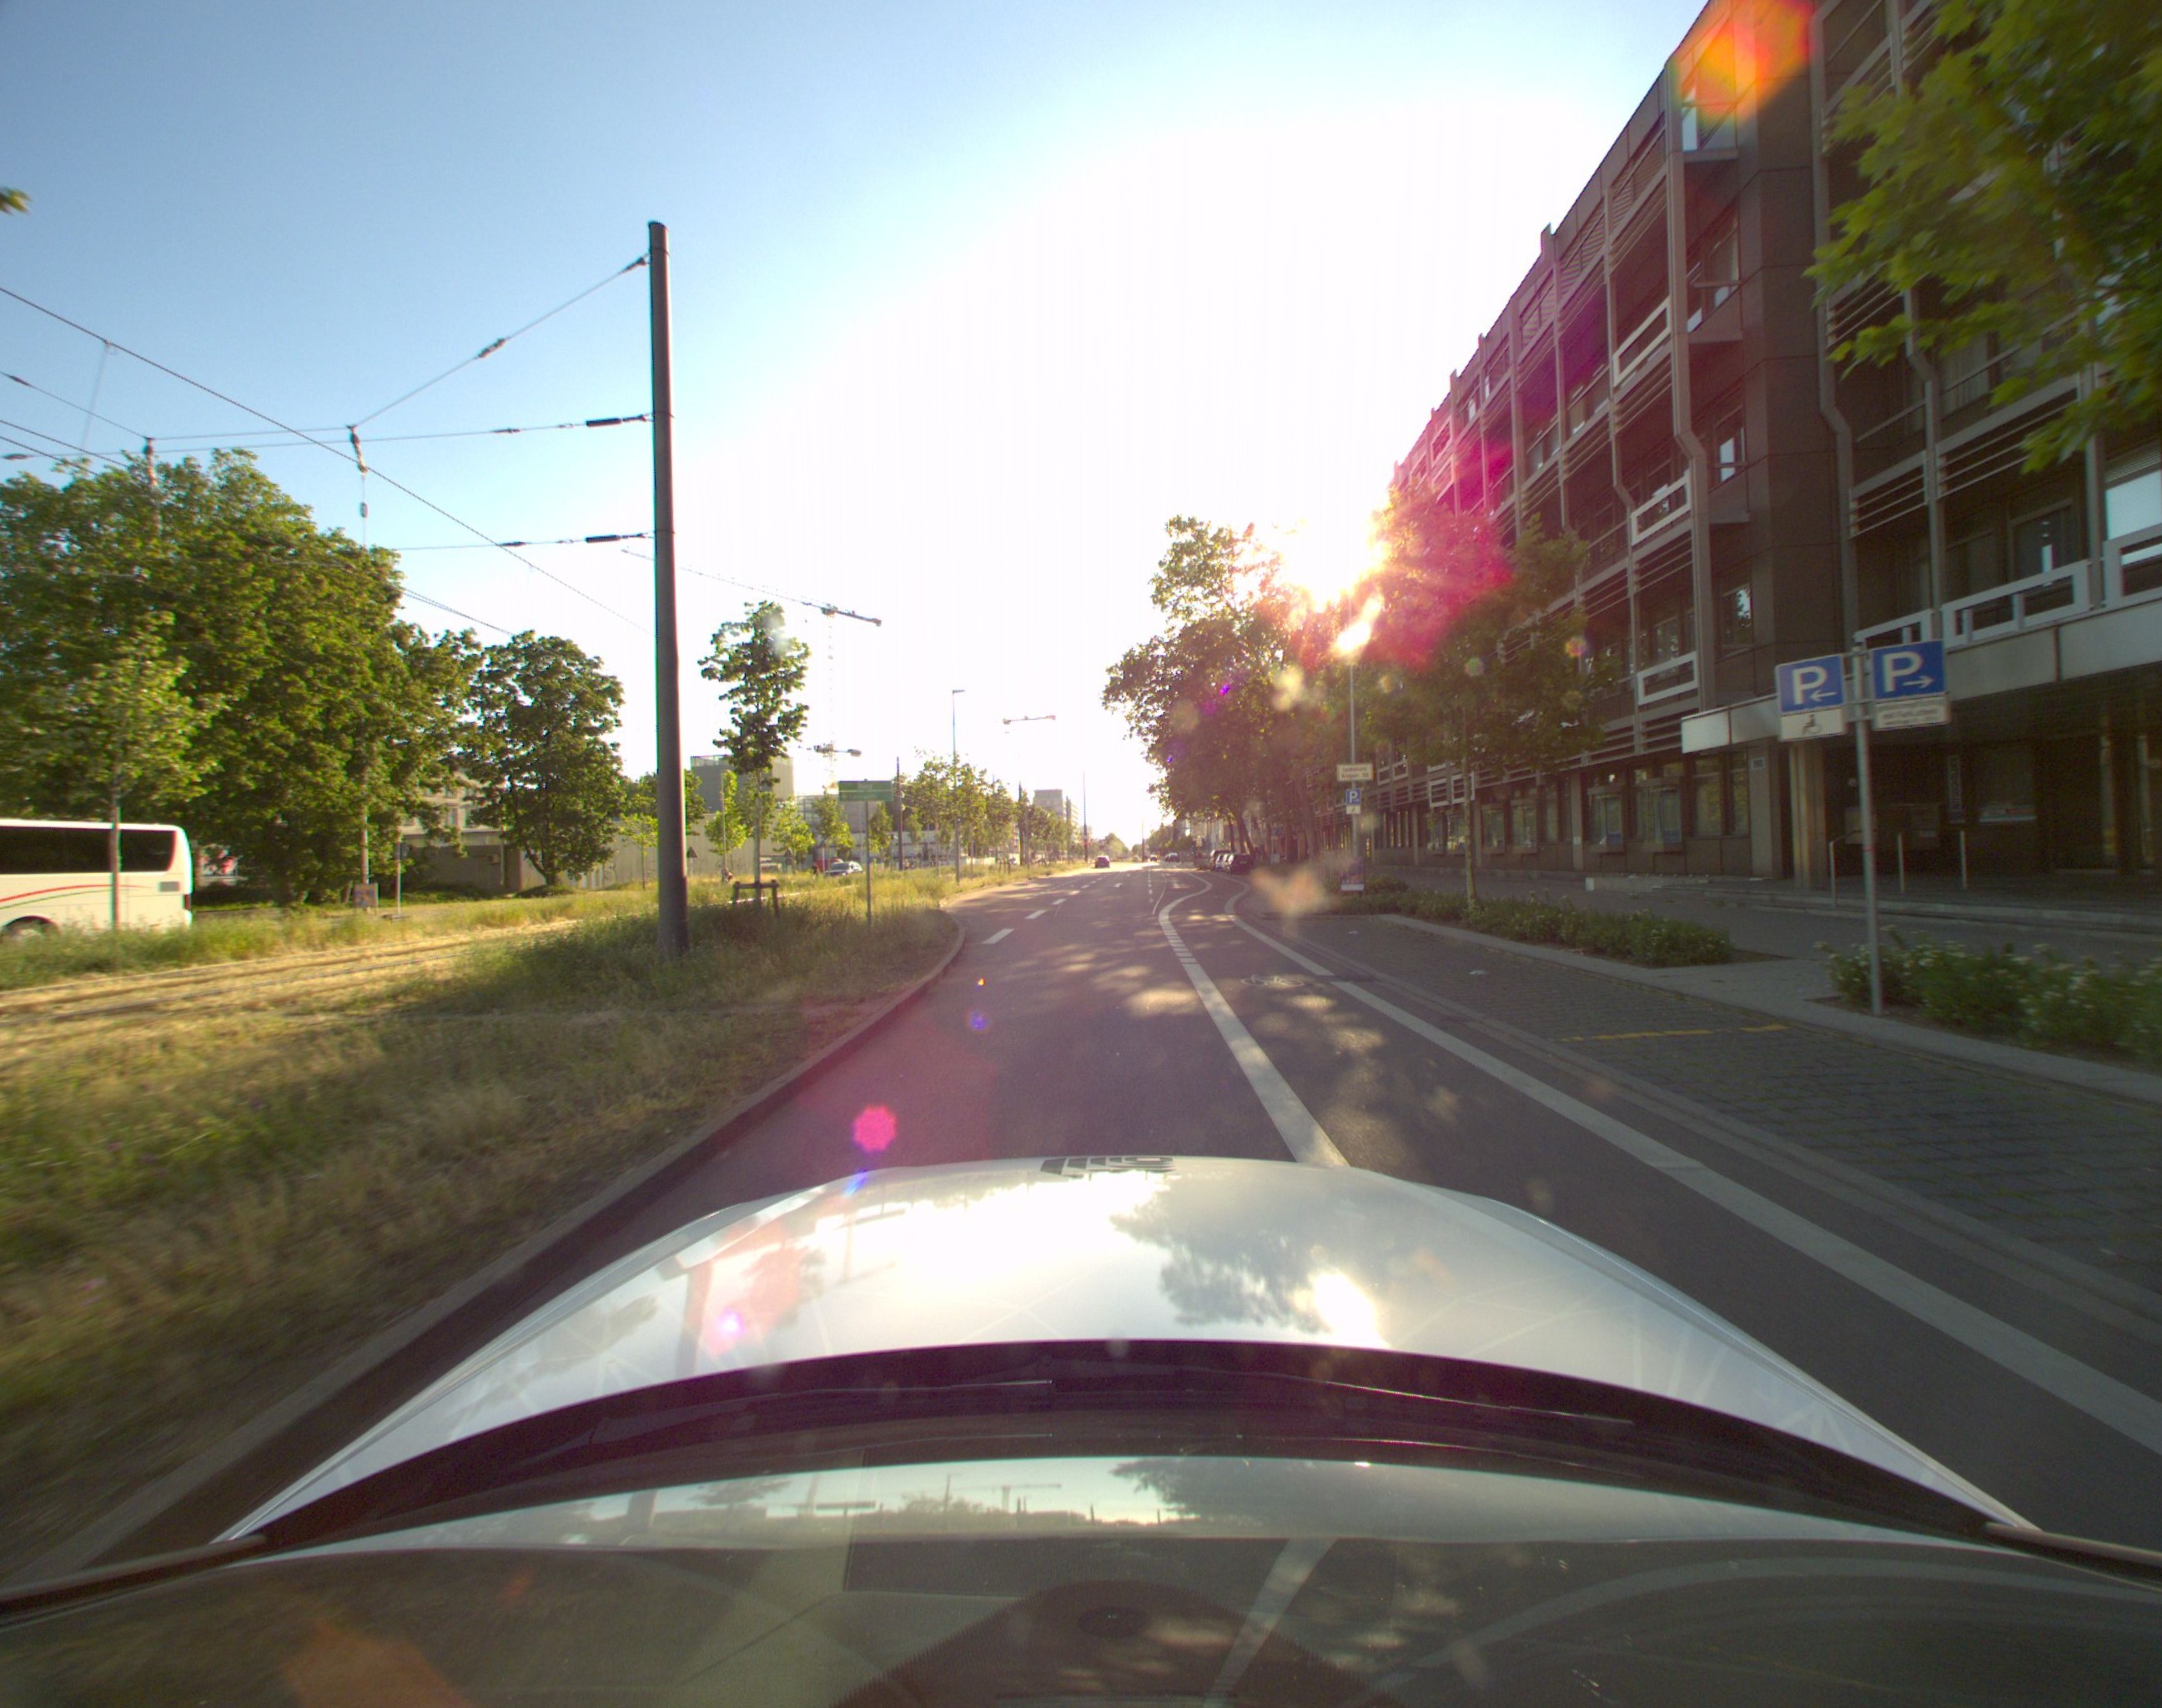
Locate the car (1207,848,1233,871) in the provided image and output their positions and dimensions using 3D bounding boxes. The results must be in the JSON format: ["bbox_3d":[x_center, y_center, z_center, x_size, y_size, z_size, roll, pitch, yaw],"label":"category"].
[{"bbox_3d":[12.965,0.501,76.384,1.821,1.971,5.328,-4,0,5],"label":"car"}]

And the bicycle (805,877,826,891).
[{"bbox_3d":[-20.830,2.326,63.968,0.684,1.003,2.364,-2,0,4],"label":"bicycle"}]

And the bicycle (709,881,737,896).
[{"bbox_3d":[-21.938,2.110,49.954,0.685,0.804,2.146,-2,0,2],"label":"bicycle"}]

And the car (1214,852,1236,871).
[{"bbox_3d":[12.348,0.608,70.100,1.672,1.514,5.071,-4,0,8],"label":"car"}]

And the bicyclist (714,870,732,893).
[{"bbox_3d":[-21.943,1.665,49.936,0.685,1.346,0.871,-2,0,2],"label":"bicyclist"}]

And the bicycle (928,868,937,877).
[{"bbox_3d":[-18.543,2.303,101.794,0.581,1.105,1.990,-1,0,5],"label":"bicycle"}]

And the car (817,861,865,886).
[{"bbox_3d":[-17.898,1.421,60.936,1.863,1.765,4.817,-2,0,3],"label":"car"}]

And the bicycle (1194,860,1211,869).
[{"bbox_3d":[12.612,1.113,84.599,1.680,0.867,0.574,-4,-1,12],"label":"bicycle"}]

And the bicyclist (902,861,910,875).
[{"bbox_3d":[-18.849,1.509,87.694,0.554,1.507,0.669,-2,0,4],"label":"bicyclist"}]

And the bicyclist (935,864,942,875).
[{"bbox_3d":[-17.778,1.941,101.859,0.581,1.442,1.077,-1,0,5],"label":"bicyclist"}]

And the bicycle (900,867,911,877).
[{"bbox_3d":[-18.847,1.954,87.630,0.556,1.060,1.901,-2,0,5],"label":"bicycle"}]

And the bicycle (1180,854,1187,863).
[{"bbox_3d":[14.983,0.662,119.063,0.796,1.204,2.266,-2,0,4],"label":"bicycle"}]

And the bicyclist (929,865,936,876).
[{"bbox_3d":[-18.548,2.056,101.647,0.581,1.442,1.077,-1,0,5],"label":"bicyclist"}]

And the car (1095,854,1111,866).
[{"bbox_3d":[2.687,0.716,99.131,1.769,1.428,4.003,-1,0,3],"label":"car"}]

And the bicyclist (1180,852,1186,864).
[{"bbox_3d":[14.911,0.588,119.123,0.796,1.602,0.786,-2,0,4],"label":"bicyclist"}]

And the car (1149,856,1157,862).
[{"bbox_3d":[18.747,1.377,211.537,1.752,1.485,3.852,-2,0,3],"label":"car"}]

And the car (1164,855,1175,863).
[{"bbox_3d":[19.095,1.059,175.965,1.932,1.485,3.928,-2,0,3],"label":"car"}]

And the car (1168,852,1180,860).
[{"bbox_3d":[17.643,0.450,155.238,1.932,1.428,3.928,-2,0,3],"label":"car"}]

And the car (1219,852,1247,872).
[{"bbox_3d":[12.017,0.619,64.592,1.673,1.478,3.879,-4,0,5],"label":"car"}]

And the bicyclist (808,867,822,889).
[{"bbox_3d":[-20.869,1.860,64.002,0.684,1.708,0.955,-2,0,4],"label":"bicyclist"}]

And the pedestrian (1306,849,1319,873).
[{"bbox_3d":[18.175,0.523,63.924,0.828,1.856,0.848,-2,0,3],"label":"pedestrian"}]

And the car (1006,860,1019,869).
[{"bbox_3d":[-13.717,2.098,164.173,1.984,1.776,4.005,-2,0,4],"label":"car"}]

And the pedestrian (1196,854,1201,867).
[{"bbox_3d":[16.421,0.929,114.034,0.631,1.703,0.570,-4,-1,5],"label":"pedestrian"}]

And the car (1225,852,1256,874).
[{"bbox_3d":[11.352,0.613,58.174,1.698,1.418,4.282,-4,0,5],"label":"car"}]

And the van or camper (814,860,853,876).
[{"bbox_3d":[-40.544,2.220,133.541,5.632,2.414,2.158,-2,0,5],"label":"van or camper"}]

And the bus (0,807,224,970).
[{"bbox_3d":[-25.317,0.794,16.126,2.788,3.595,12.706,-2,0,2],"label":"bus"}]
